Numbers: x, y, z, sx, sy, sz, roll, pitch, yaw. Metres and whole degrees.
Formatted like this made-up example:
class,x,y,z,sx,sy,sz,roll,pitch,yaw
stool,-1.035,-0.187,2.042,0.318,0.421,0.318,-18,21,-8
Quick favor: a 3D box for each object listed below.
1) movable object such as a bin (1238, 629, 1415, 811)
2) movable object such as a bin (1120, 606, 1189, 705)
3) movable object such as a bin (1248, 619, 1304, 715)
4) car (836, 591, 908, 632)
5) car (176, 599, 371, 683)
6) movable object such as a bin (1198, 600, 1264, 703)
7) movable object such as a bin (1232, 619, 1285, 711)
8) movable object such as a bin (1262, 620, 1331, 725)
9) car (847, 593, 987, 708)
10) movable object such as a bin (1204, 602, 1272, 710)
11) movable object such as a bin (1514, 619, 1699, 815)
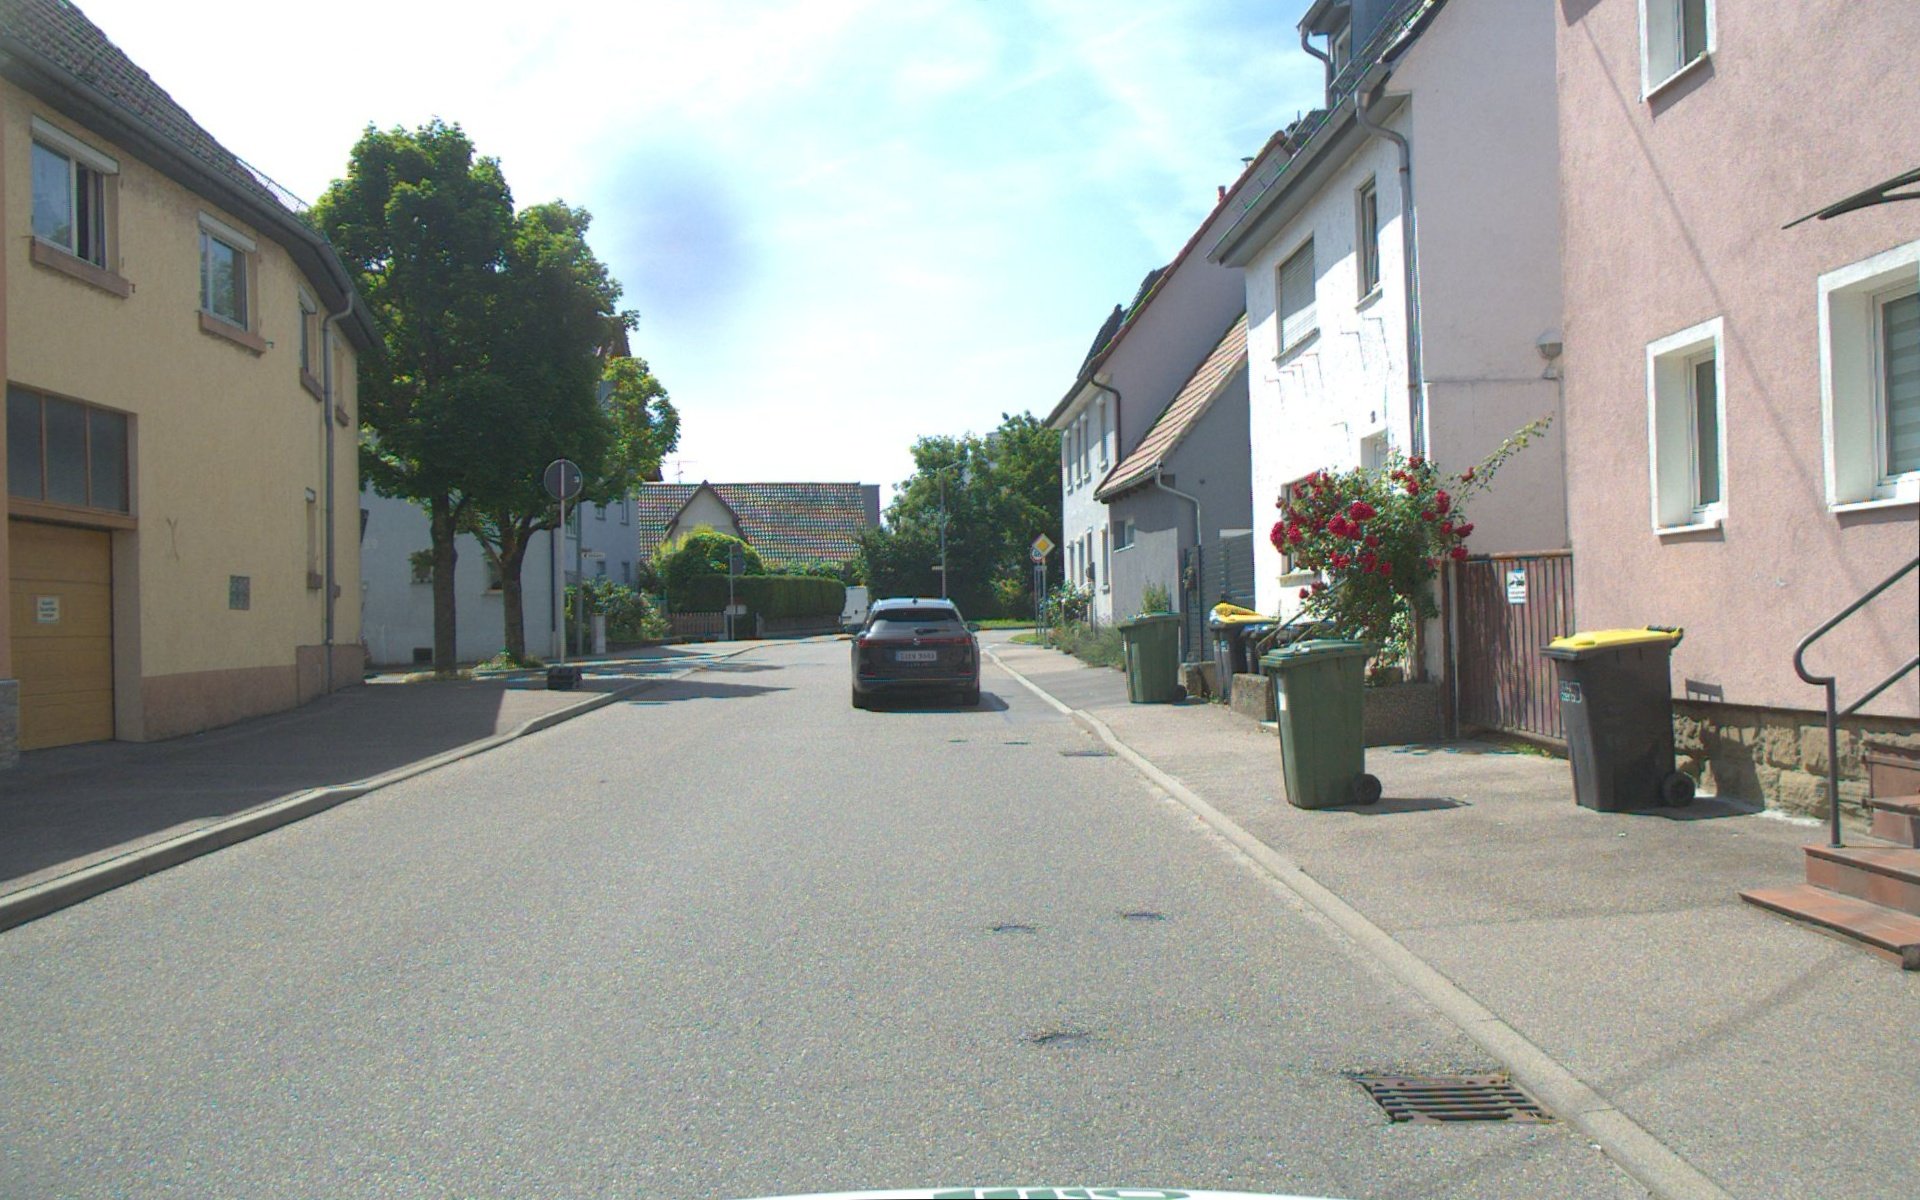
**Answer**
class,x,y,z,sx,sy,sz,roll,pitch,yaw
movable object such as a bin,2.481,0.793,11.283,0.859,1.093,0.871,-5,0,-6
movable object such as a bin,2.388,0.672,20.382,0.665,1.175,0.819,-1,0,-6
movable object such as a bin,3.423,0.720,17.917,0.493,1.011,0.442,-1,0,-2
car,-4.545,0.577,85.983,2.083,2.049,4.940,-1,0,18
car,-15.452,0.900,37.448,3.928,1.780,1.988,-1,-1,-20
movable object such as a bin,3.276,0.610,20.015,0.651,1.215,0.660,-1,0,-2
movable object such as a bin,3.385,0.731,18.797,0.493,1.011,0.442,-1,0,-2
movable object such as a bin,3.510,0.752,17.276,0.580,1.058,0.530,-1,0,-2
car,-0.561,0.643,23.728,1.803,1.445,4.682,0,1,0
movable object such as a bin,3.241,0.645,19.322,0.651,1.215,0.587,-1,0,-2
movable object such as a bin,3.924,0.689,10.097,0.665,1.068,0.834,-5,0,-6
